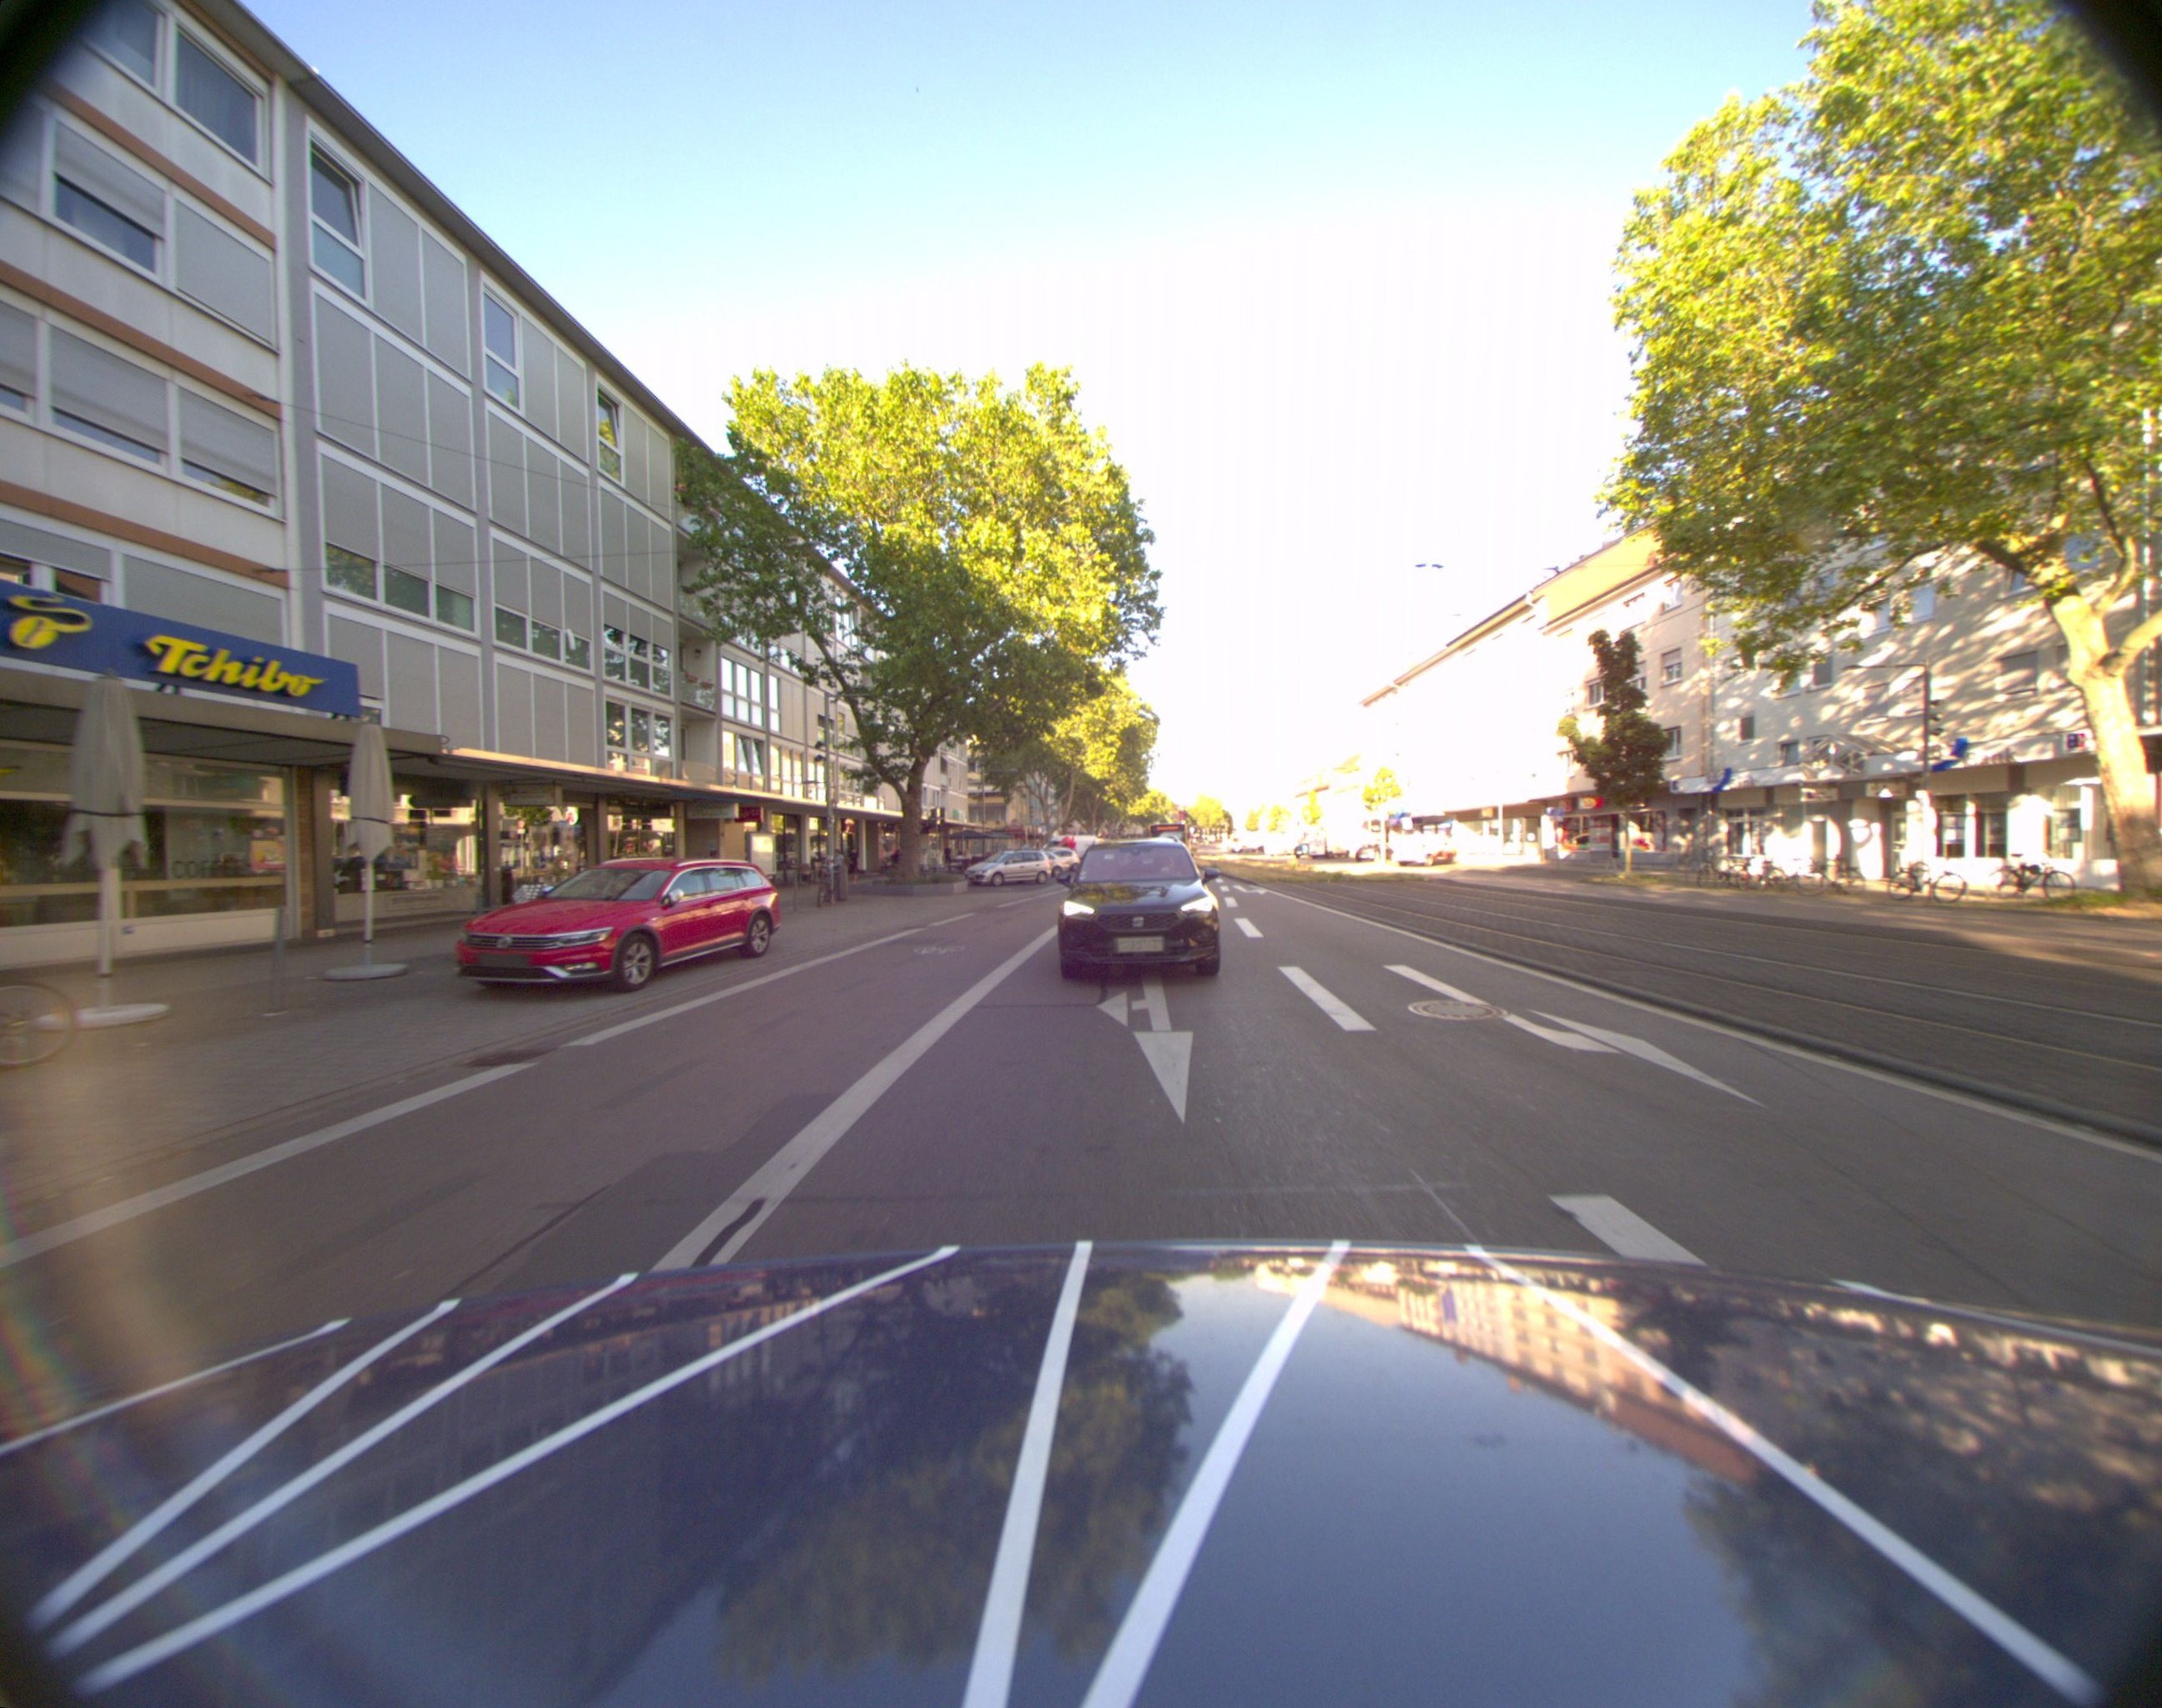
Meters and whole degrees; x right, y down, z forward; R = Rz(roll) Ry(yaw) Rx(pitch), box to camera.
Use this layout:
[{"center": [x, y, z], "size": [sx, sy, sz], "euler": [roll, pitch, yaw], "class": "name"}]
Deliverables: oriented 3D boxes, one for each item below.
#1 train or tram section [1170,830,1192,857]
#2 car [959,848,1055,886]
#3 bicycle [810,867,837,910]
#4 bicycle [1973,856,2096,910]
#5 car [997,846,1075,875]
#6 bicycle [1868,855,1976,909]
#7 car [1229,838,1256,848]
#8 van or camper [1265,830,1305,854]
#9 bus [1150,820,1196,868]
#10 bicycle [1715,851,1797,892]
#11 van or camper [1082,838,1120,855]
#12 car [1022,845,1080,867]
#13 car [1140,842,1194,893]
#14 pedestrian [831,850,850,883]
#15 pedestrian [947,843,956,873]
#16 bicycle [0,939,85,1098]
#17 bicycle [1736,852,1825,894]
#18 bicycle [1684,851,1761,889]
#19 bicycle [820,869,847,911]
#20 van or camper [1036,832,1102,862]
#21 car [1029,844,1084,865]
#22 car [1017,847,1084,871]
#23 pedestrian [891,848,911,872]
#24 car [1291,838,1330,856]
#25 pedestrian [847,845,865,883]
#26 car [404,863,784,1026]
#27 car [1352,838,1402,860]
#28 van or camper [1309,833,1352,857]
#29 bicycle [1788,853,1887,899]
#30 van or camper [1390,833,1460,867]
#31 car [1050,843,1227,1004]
[{"center": [13.551, -1.407, 102.680], "size": [2.637, 3.430, 11.134], "euler": [-2, 1, 8], "class": "train or tram section"}, {"center": [-3.283, 0.534, 34.079], "size": [4.008, 1.597, 1.804], "euler": [-1, 1, -44], "class": "car"}, {"center": [-7.141, 0.942, 21.091], "size": [0.295, 1.095, 1.717], "euler": [2, 1, -5], "class": "bicycle"}, {"center": [21.392, 0.618, 17.102], "size": [0.509, 1.118, 1.911], "euler": [-2, 1, 5], "class": "bicycle"}, {"center": [-2.409, 0.329, 41.384], "size": [4.008, 1.428, 1.655], "euler": [-1, 2, -39], "class": "car"}, {"center": [19.268, 0.619, 17.466], "size": [0.509, 1.118, 1.911], "euler": [-2, 1, 5], "class": "bicycle"}, {"center": [27.199, -1.773, 127.978], "size": [3.919, 1.482, 1.767], "euler": [-3, 1, -19], "class": "car"}, {"center": [25.087, -1.540, 93.282], "size": [1.994, 2.652, 6.410], "euler": [-2, 1, 42], "class": "van or camper"}, {"center": [6.598, -0.853, 55.362], "size": [2.870, 2.962, 12.241], "euler": [-3, 2, 6], "class": "bus"}, {"center": [19.899, 0.518, 22.405], "size": [1.898, 1.118, 0.534], "euler": [-2, 1, 2], "class": "bicycle"}, {"center": [2.990, -1.179, 112.895], "size": [5.473, 2.455, 1.994], "euler": [-2, 1, -38], "class": "van or camper"}, {"center": [-2.171, 0.115, 55.166], "size": [4.007, 1.514, 1.655], "euler": [-1, 2, -36], "class": "car"}, {"center": [2.967, 0.401, 26.145], "size": [1.658, 1.572, 4.001], "euler": [-1, 1, 7], "class": "car"}, {"center": [-10.409, 0.527, 32.908], "size": [0.538, 1.393, 0.687], "euler": [1, 2, 3], "class": "pedestrian"}, {"center": [-8.806, 0.262, 51.669], "size": [0.552, 2.002, 0.577], "euler": [-3, 1, -10], "class": "pedestrian"}, {"center": [-7.919, 1.202, 5.012], "size": [0.512, 1.064, 1.661], "euler": [1, 1, 0], "class": "bicycle"}, {"center": [19.859, 0.537, 21.603], "size": [1.898, 1.118, 0.652], "euler": [-2, 1, 2], "class": "bicycle"}, {"center": [19.951, 0.492, 23.658], "size": [1.898, 1.118, 0.534], "euler": [-2, 1, 2], "class": "bicycle"}, {"center": [-6.855, 0.979, 21.079], "size": [0.295, 1.034, 1.717], "euler": [2, 1, -5], "class": "bicycle"}, {"center": [-0.982, -0.610, 65.657], "size": [5.472, 2.455, 1.994], "euler": [-2, 1, -36], "class": "van or camper"}, {"center": [-1.868, 0.003, 58.154], "size": [4.007, 1.555, 1.655], "euler": [-1, 2, -36], "class": "car"}, {"center": [-1.911, 0.287, 48.554], "size": [4.007, 1.428, 1.655], "euler": [-1, 2, -36], "class": "car"}, {"center": [-10.264, 0.326, 43.317], "size": [0.750, 1.354, 0.963], "euler": [-1, 1, 8], "class": "pedestrian"}, {"center": [23.986, -0.742, 79.391], "size": [4.007, 1.577, 1.874], "euler": [-4, 1, -39], "class": "car"}, {"center": [-9.722, 0.432, 32.862], "size": [0.538, 1.582, 0.687], "euler": [1, 2, 3], "class": "pedestrian"}, {"center": [-5.841, 0.939, 9.975], "size": [1.782, 1.488, 4.568], "euler": [1, 1, 5], "class": "car"}, {"center": [22.993, -0.369, 58.892], "size": [4.459, 1.482, 1.765], "euler": [-4, 1, -43], "class": "car"}, {"center": [23.854, -0.871, 72.475], "size": [4.459, 1.978, 1.795], "euler": [-4, 1, -41], "class": "van or camper"}, {"center": [19.785, 0.568, 19.889], "size": [1.898, 1.118, 0.652], "euler": [-2, 1, 2], "class": "bicycle"}, {"center": [21.617, -0.286, 47.637], "size": [4.823, 1.887, 1.946], "euler": [-4, 1, -38], "class": "van or camper"}, {"center": [0.829, 0.714, 9.914], "size": [1.807, 1.638, 4.001], "euler": [-1, 1, 7], "class": "car"}]
